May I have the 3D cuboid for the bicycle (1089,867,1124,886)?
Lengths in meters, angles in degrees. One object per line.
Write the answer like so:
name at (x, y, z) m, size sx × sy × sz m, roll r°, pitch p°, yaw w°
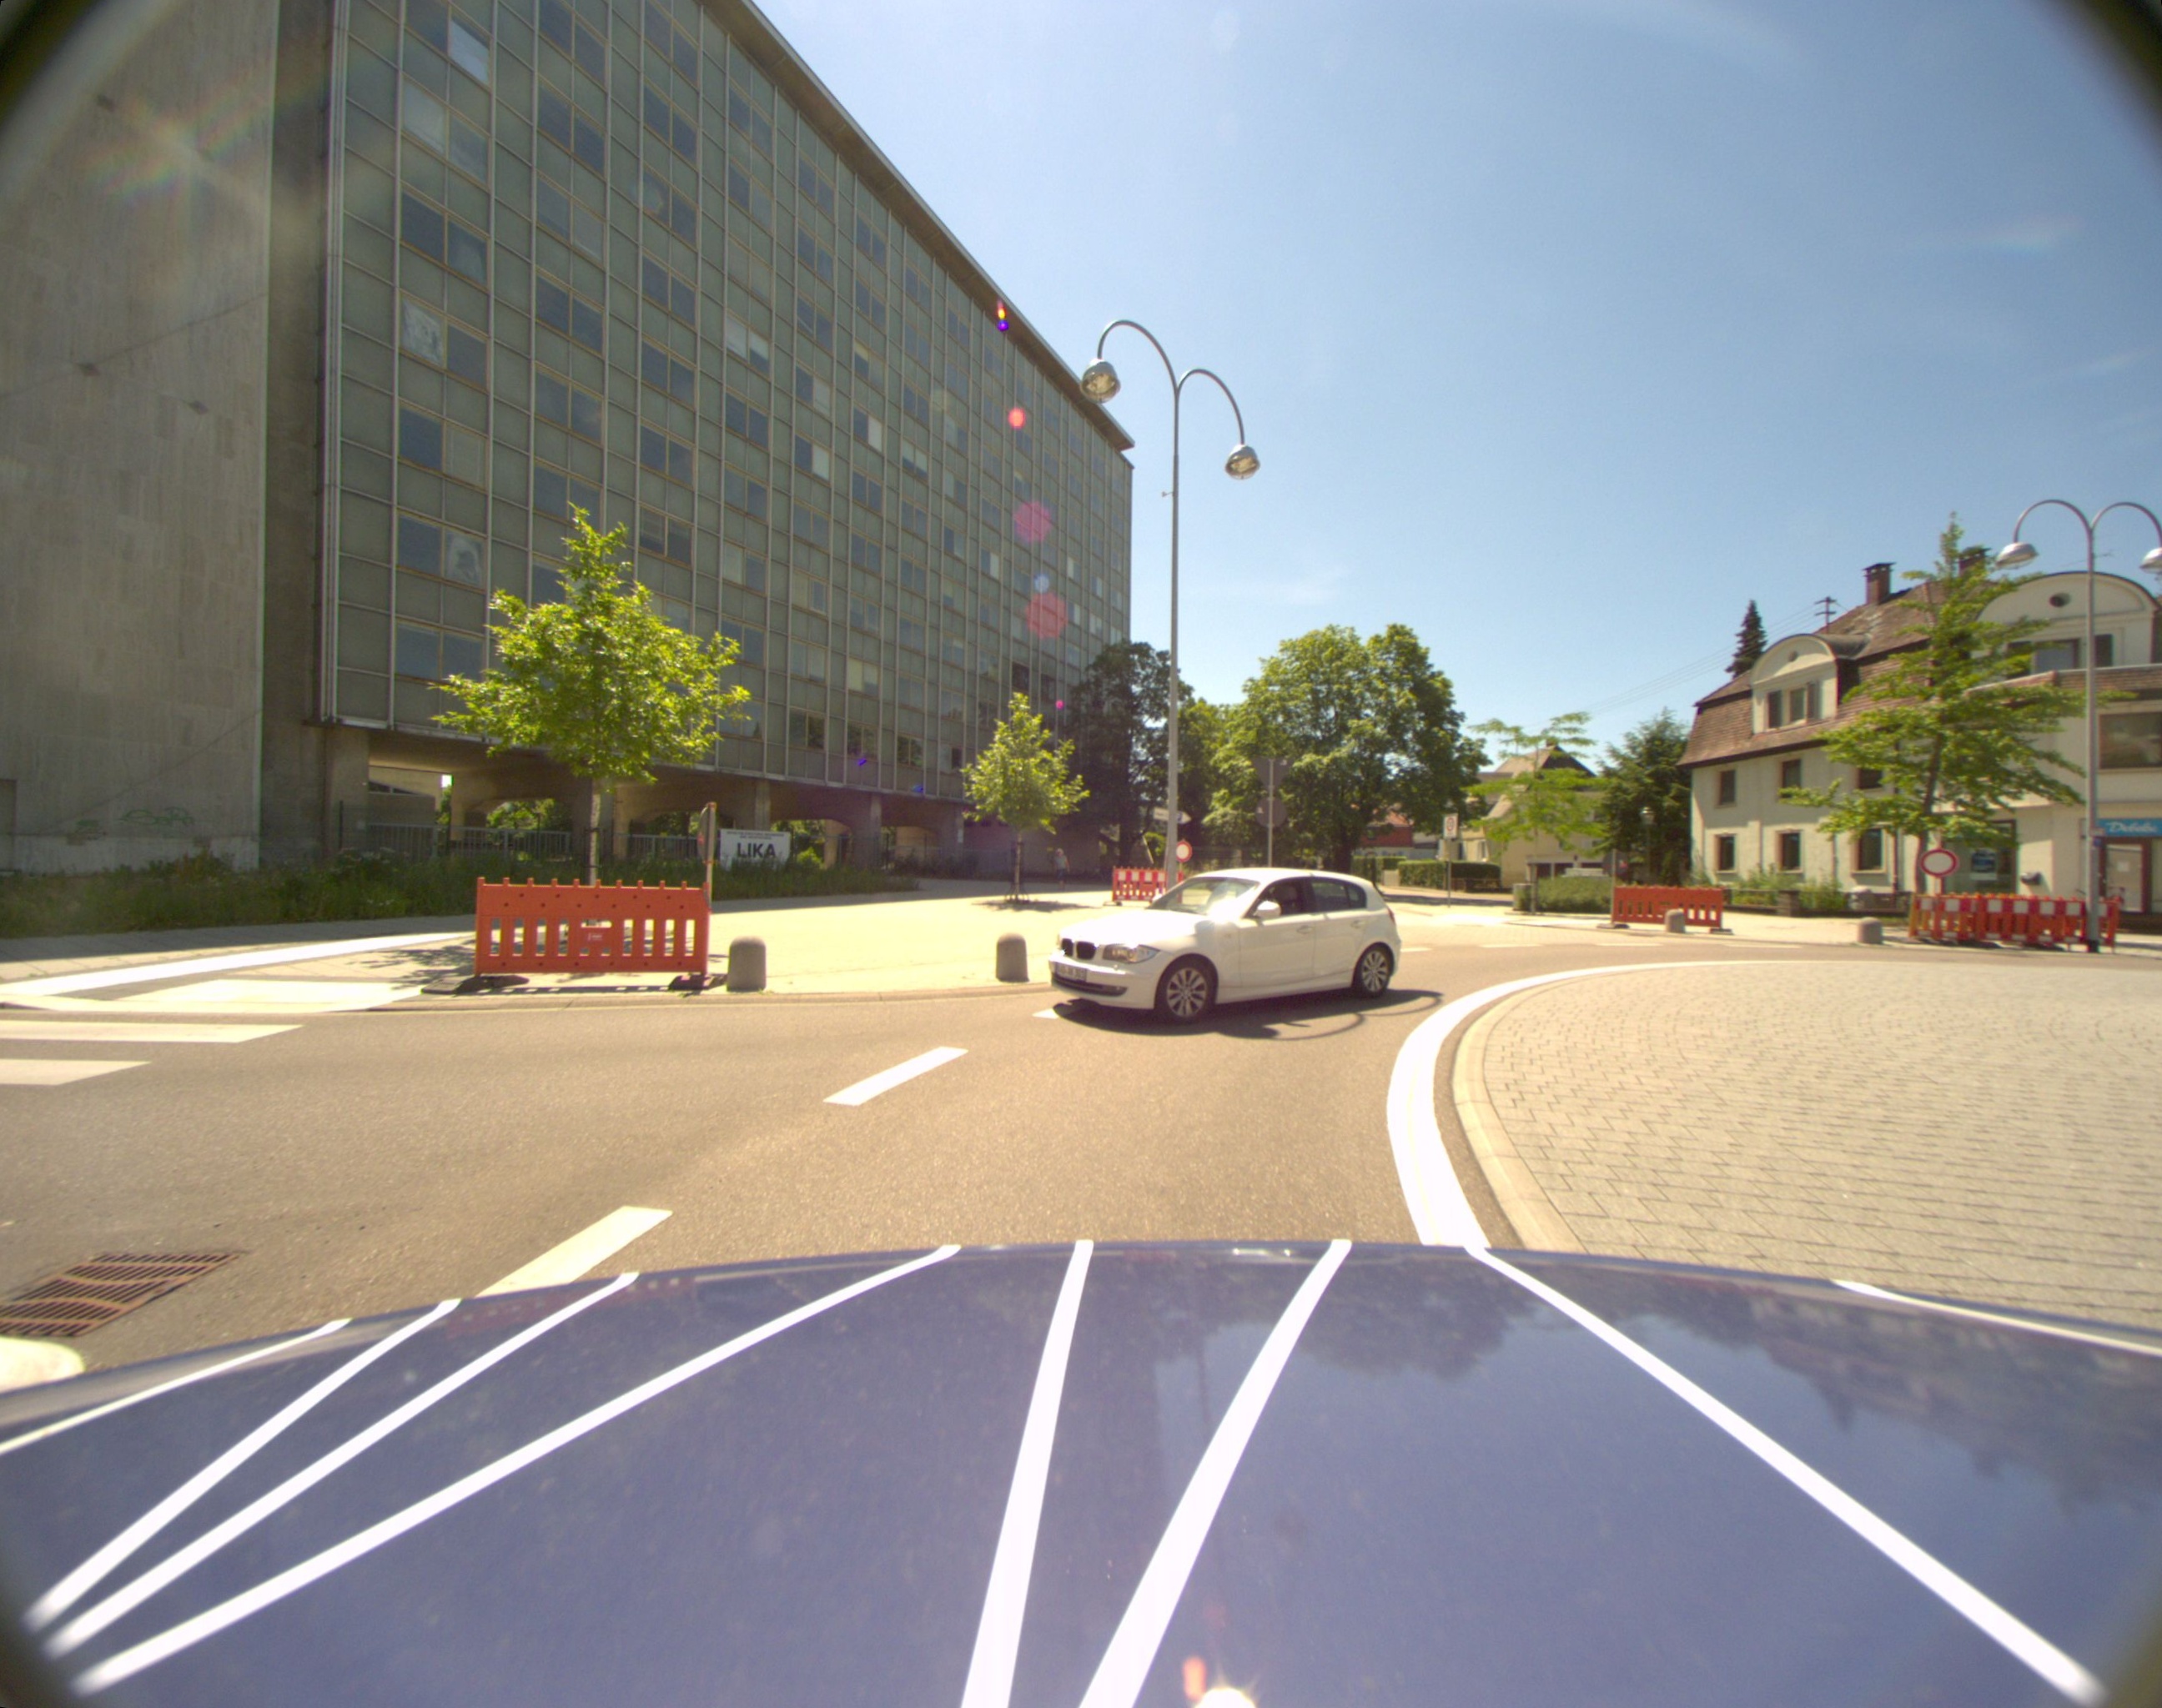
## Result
bicycle at (1.312, 1.167, 39.318) m, size 1.751 × 0.902 × 0.449 m, roll 1°, pitch 0°, yaw 9°

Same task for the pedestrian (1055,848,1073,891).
pedestrian at (-0.676, 0.613, 30.625) m, size 0.565 × 1.698 × 0.487 m, roll 3°, pitch 1°, yaw 8°

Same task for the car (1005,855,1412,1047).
car at (1.450, 0.994, 8.059) m, size 4.137 × 1.540 × 1.784 m, roll 4°, pitch -8°, yaw -34°
